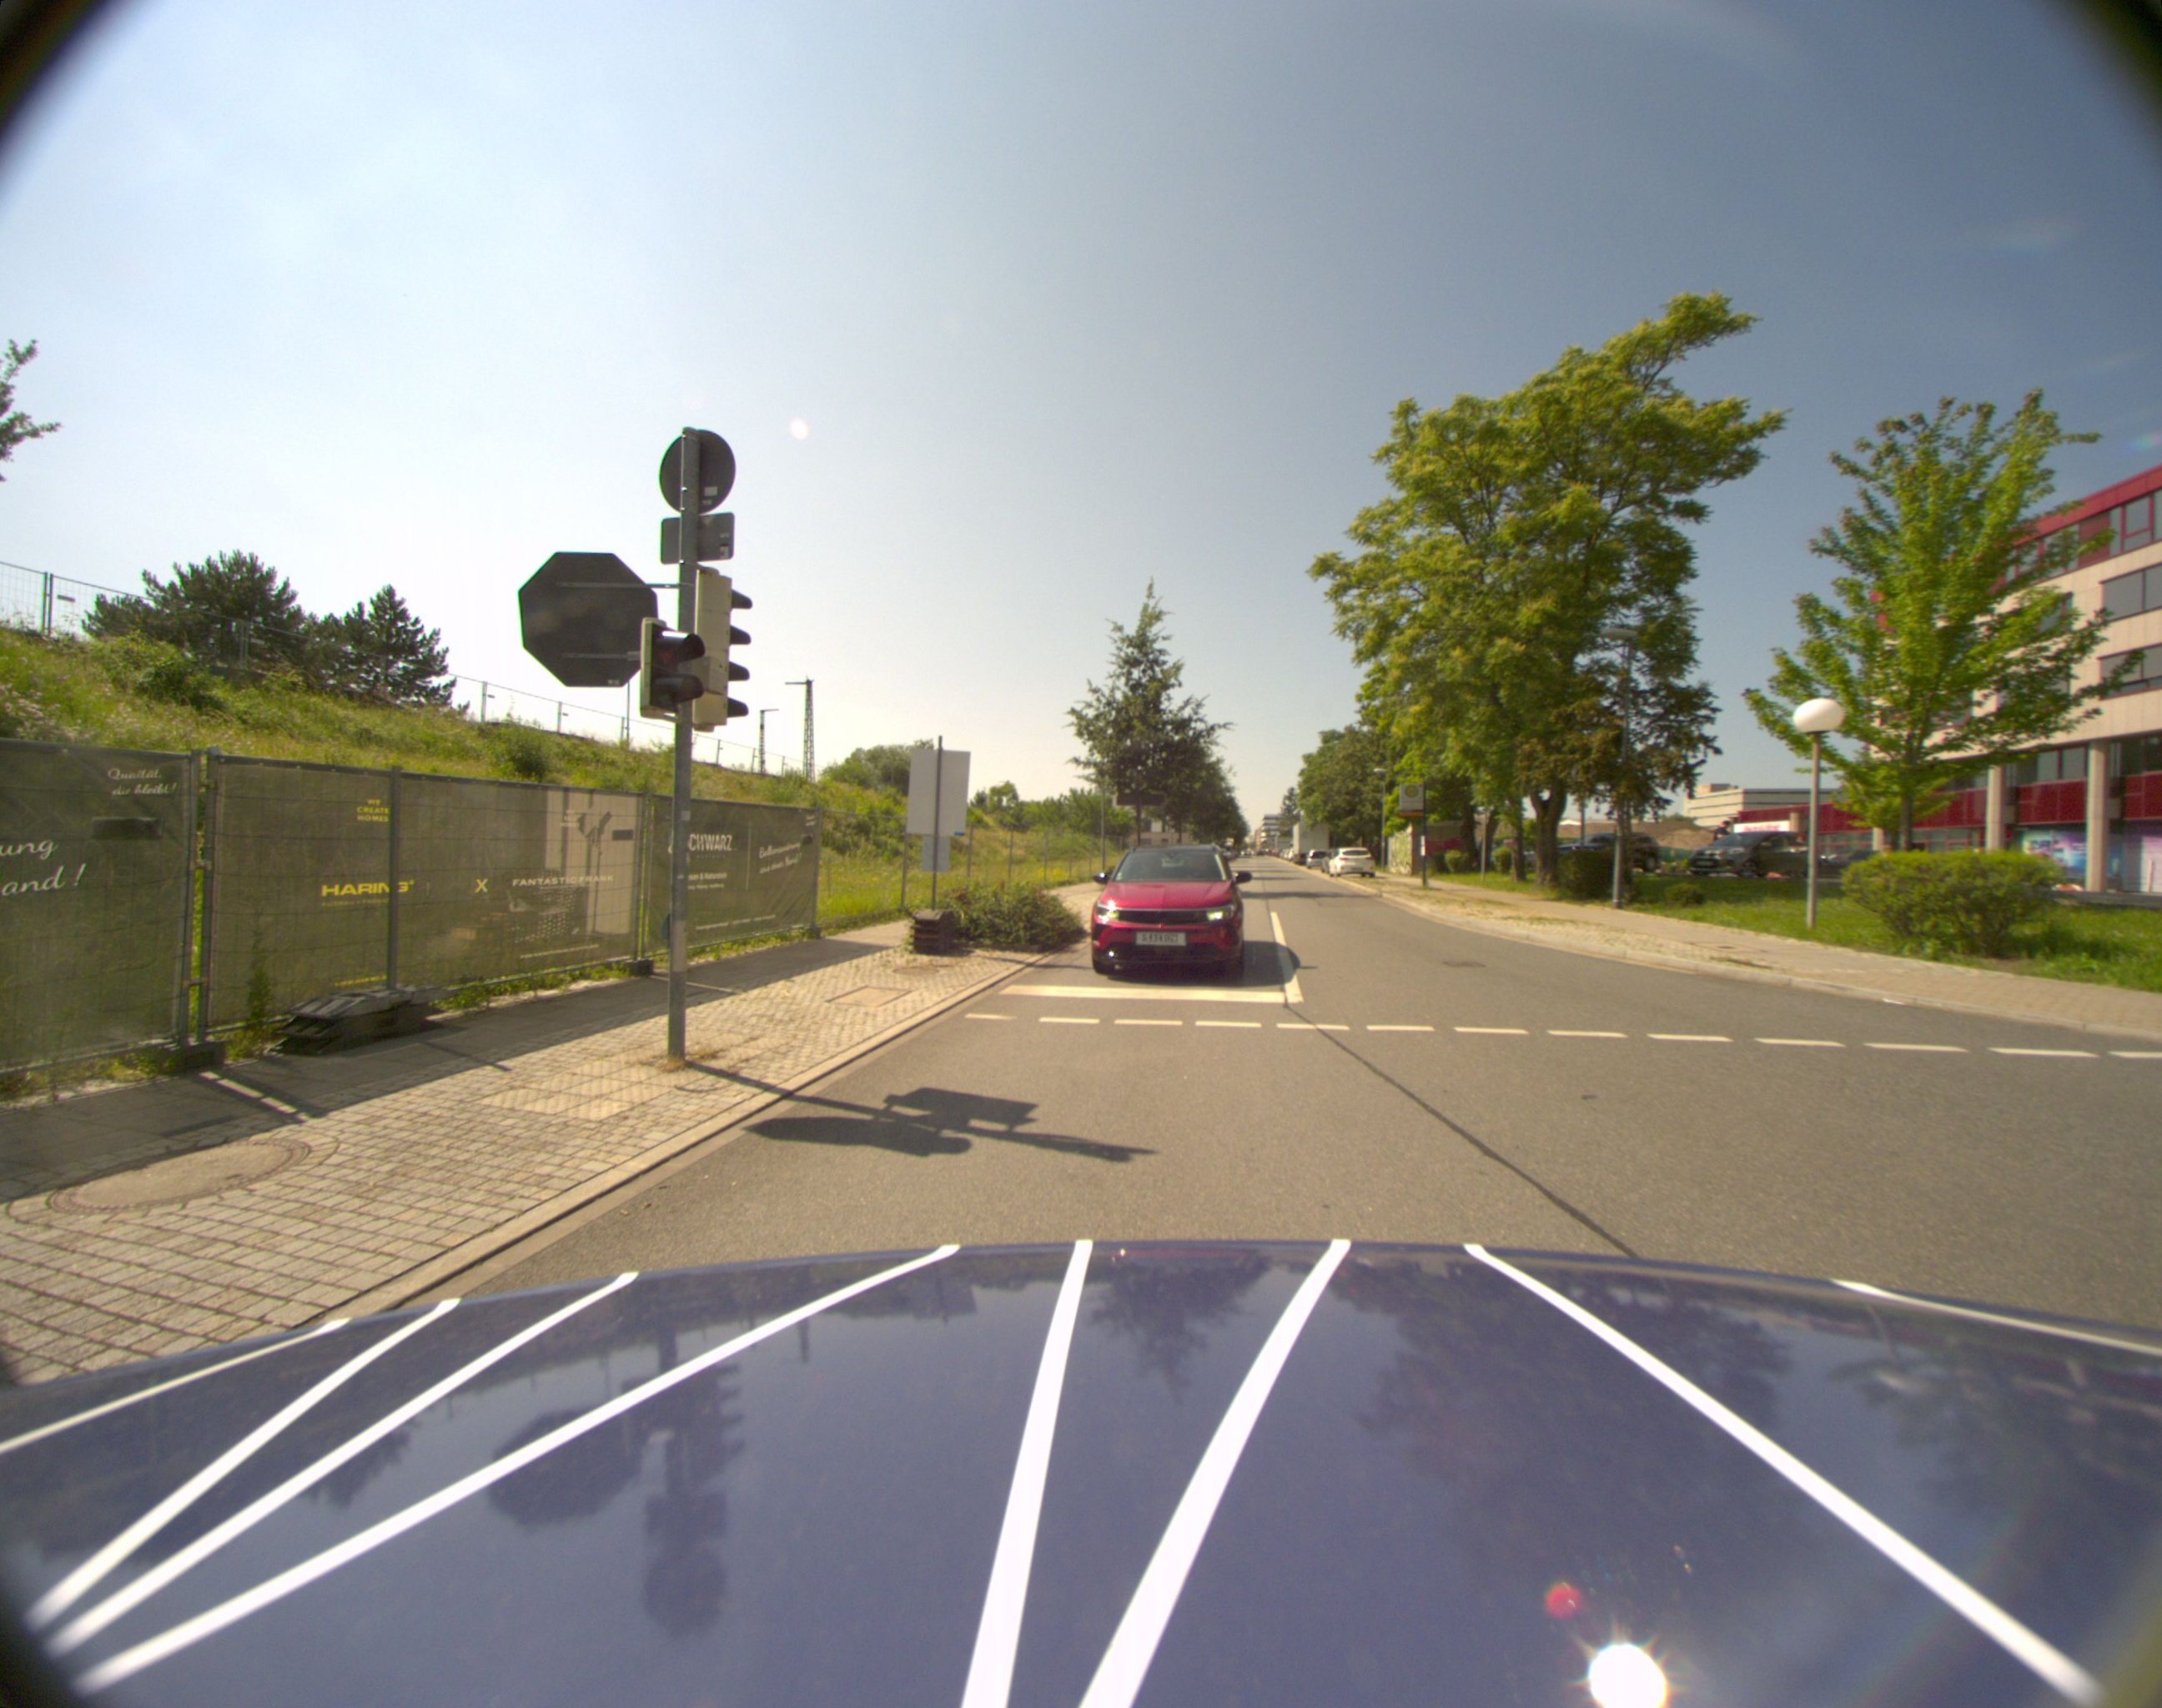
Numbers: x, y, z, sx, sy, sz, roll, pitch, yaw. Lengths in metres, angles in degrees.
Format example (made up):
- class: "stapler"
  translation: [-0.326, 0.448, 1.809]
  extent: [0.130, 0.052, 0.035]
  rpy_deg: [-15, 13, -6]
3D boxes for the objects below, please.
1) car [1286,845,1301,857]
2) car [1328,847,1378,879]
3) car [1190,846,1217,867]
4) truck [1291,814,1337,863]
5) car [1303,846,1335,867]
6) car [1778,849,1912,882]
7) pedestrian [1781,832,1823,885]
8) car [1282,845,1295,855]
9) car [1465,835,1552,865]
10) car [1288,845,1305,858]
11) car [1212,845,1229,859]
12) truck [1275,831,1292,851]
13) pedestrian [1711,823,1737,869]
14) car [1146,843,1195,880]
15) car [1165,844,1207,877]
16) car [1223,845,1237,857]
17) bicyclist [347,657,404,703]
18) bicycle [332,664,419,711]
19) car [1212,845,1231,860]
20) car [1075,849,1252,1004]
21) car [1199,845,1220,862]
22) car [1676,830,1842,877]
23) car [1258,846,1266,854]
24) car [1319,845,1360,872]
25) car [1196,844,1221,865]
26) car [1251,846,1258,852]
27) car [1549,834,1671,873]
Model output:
- class: "car"
  translation: [29.003, -0.416, 103.900]
  extent: [1.812, 1.506, 4.004]
  rpy_deg: [-1, 0, 14]
- class: "car"
  translation: [13.558, 0.423, 38.086]
  extent: [1.764, 1.484, 4.003]
  rpy_deg: [-1, 1, 11]
- class: "car"
  translation: [9.351, 0.138, 57.925]
  extent: [1.867, 1.533, 4.003]
  rpy_deg: [0, 1, 12]
- class: "truck"
  translation: [21.072, -1.306, 69.147]
  extent: [3.350, 4.119, 9.286]
  rpy_deg: [-1, 0, 13]
- class: "car"
  translation: [17.725, 0.177, 56.738]
  extent: [1.813, 1.506, 4.003]
  rpy_deg: [-1, 0, 11]
- class: "car"
  translation: [36.236, 0.496, 36.136]
  extent: [1.726, 1.443, 4.228]
  rpy_deg: [0, 1, -35]
- class: "pedestrian"
  translation: [21.126, 0.132, 22.275]
  extent: [0.565, 1.518, 0.754]
  rpy_deg: [0, 1, -32]
- class: "car"
  translation: [31.714, -0.630, 116.151]
  extent: [1.812, 1.506, 4.004]
  rpy_deg: [-1, 0, 14]
- class: "car"
  translation: [26.495, -0.248, 47.113]
  extent: [4.720, 1.793, 1.997]
  rpy_deg: [0, 0, -18]
- class: "car"
  translation: [26.430, -0.297, 93.142]
  extent: [1.812, 1.506, 4.004]
  rpy_deg: [-1, 0, 14]
- class: "car"
  translation: [16.903, -0.207, 91.958]
  extent: [1.845, 1.607, 4.004]
  rpy_deg: [2, 1, 12]
- class: "truck"
  translation: [35.023, -2.167, 131.417]
  extent: [2.699, 3.300, 7.351]
  rpy_deg: [0, 1, 16]
- class: "pedestrian"
  translation: [21.414, -0.268, 25.326]
  extent: [0.563, 1.518, 0.758]
  rpy_deg: [1, 1, 34]
- class: "car"
  translation: [4.384, 0.337, 36.721]
  extent: [1.845, 1.607, 4.374]
  rpy_deg: [3, 1, 12]
- class: "car"
  translation: [5.708, 0.348, 40.893]
  extent: [1.845, 1.607, 4.004]
  rpy_deg: [3, 1, 12]
- class: "car"
  translation: [21.631, -0.417, 110.458]
  extent: [1.845, 1.607, 4.004]
  rpy_deg: [2, 1, 12]
- class: "bicyclist"
  translation: [-24.992, -6.159, 26.921]
  extent: [0.952, 1.380, 1.063]
  rpy_deg: [-1, 2, 3]
- class: "bicycle"
  translation: [-24.984, -5.876, 26.960]
  extent: [0.936, 1.206, 2.174]
  rpy_deg: [-1, 1, 4]
- class: "car"
  translation: [15.601, -0.176, 84.104]
  extent: [1.845, 1.607, 4.004]
  rpy_deg: [2, 1, 12]
- class: "car"
  translation: [1.232, 0.754, 10.080]
  extent: [1.820, 1.594, 4.310]
  rpy_deg: [-1, 0, 10]
- class: "car"
  translation: [12.772, -0.025, 75.515]
  extent: [1.845, 1.607, 4.004]
  rpy_deg: [2, 1, 12]
- class: "car"
  translation: [21.080, -0.034, 23.697]
  extent: [3.990, 1.330, 1.717]
  rpy_deg: [-1, 1, -9]
- class: "car"
  translation: [41.751, -0.868, 175.225]
  extent: [1.789, 1.783, 4.004]
  rpy_deg: [0, 1, 14]
- class: "car"
  translation: [15.339, 0.260, 45.207]
  extent: [1.813, 1.506, 4.003]
  rpy_deg: [-1, 0, 11]
- class: "car"
  translation: [10.808, 0.047, 64.088]
  extent: [1.845, 1.607, 4.004]
  rpy_deg: [3, 1, 12]
- class: "car"
  translation: [51.196, -1.374, 223.732]
  extent: [1.762, 1.783, 4.004]
  rpy_deg: [0, 1, 15]
- class: "car"
  translation: [22.430, -0.041, 32.218]
  extent: [4.821, 1.484, 1.849]
  rpy_deg: [-1, 1, -20]
